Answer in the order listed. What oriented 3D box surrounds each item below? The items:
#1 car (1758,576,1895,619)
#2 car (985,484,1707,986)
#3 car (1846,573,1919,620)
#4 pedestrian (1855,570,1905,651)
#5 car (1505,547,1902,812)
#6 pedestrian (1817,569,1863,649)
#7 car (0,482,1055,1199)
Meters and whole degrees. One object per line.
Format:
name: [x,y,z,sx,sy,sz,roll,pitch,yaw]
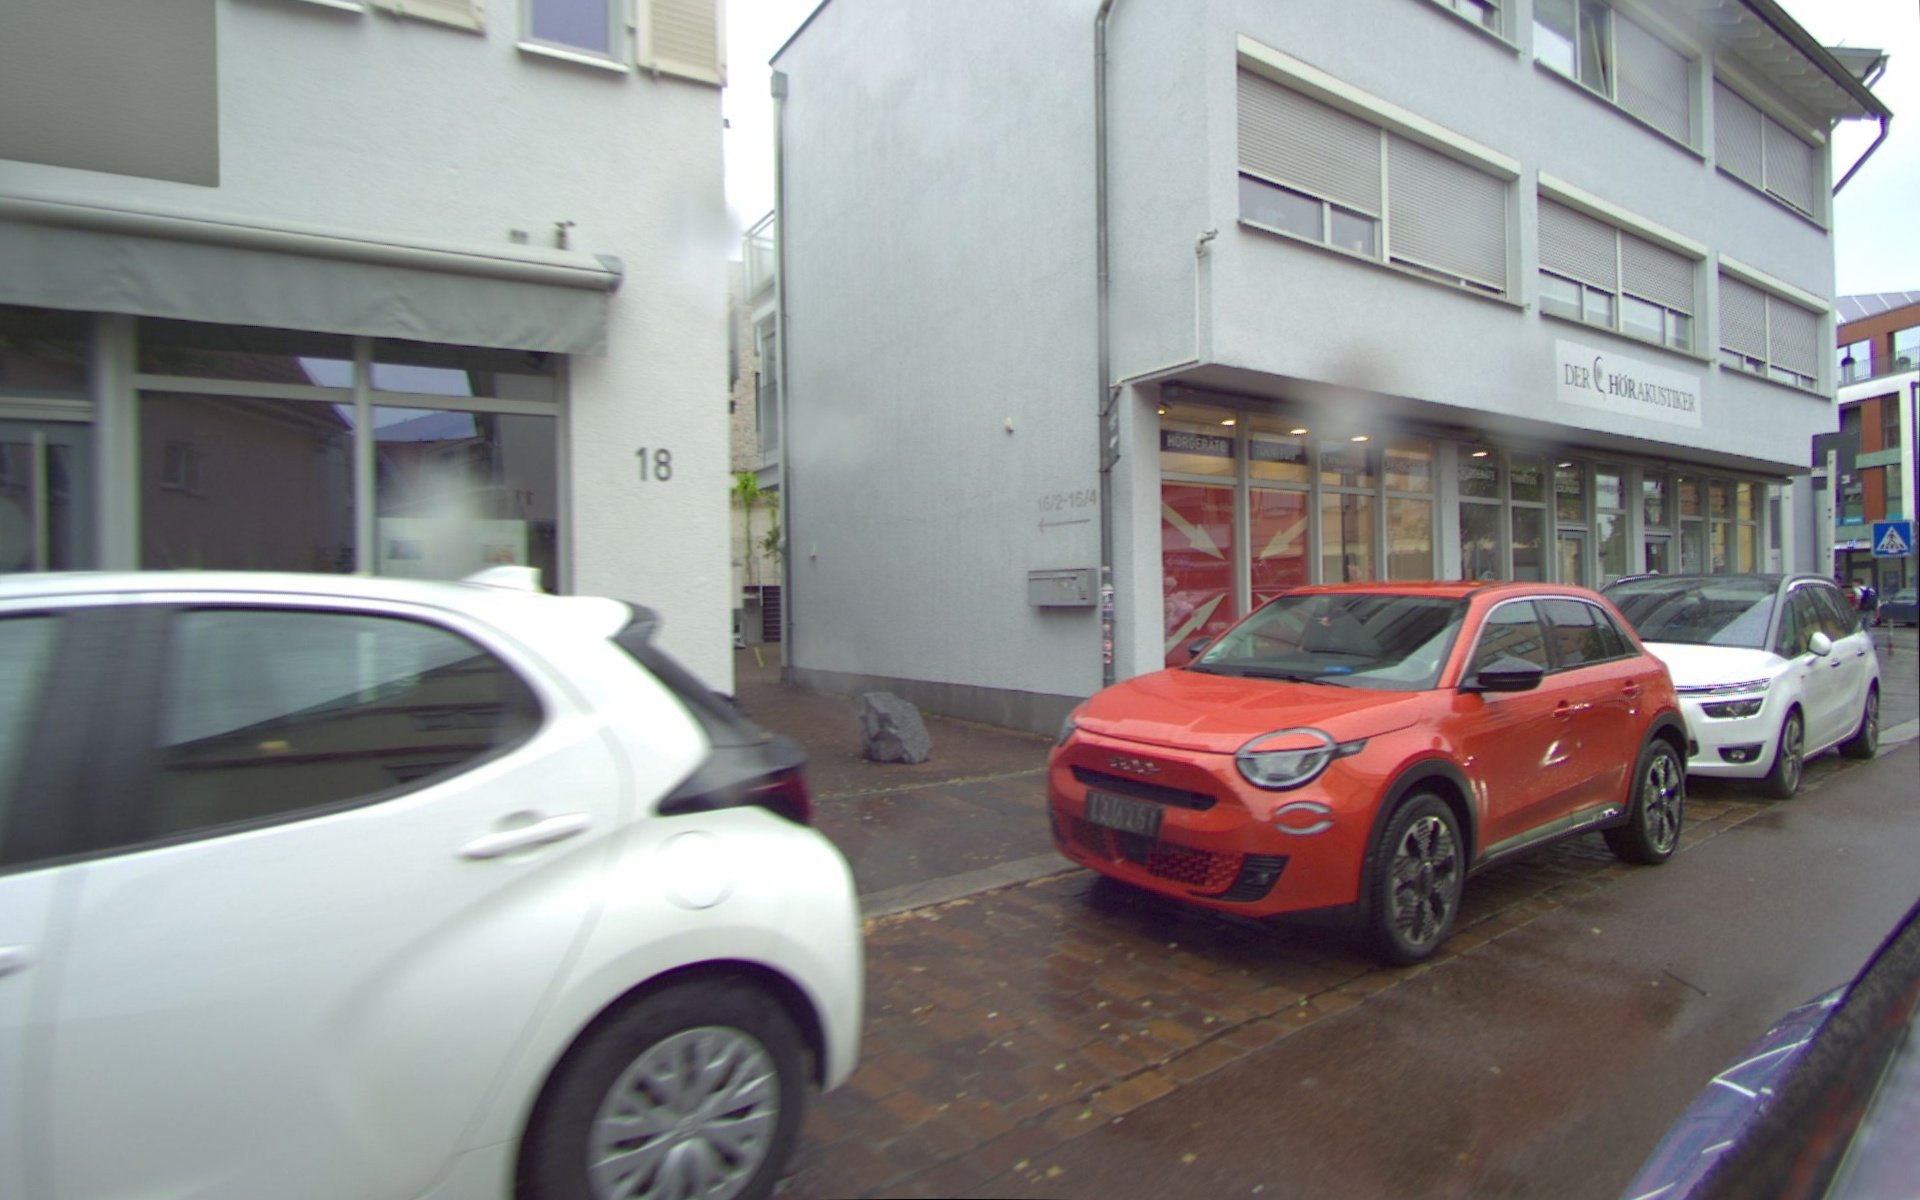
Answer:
car: [34.047,-0.110,39.915,1.684,1.594,4.005,-1,1,-7]
car: [2.184,0.425,5.290,3.884,1.711,1.695,-1,0,-36]
car: [33.727,-0.132,35.391,1.684,1.594,4.005,-1,1,-7]
pedestrian: [21.224,0.231,23.361,0.666,1.834,0.674,-1,0,27]
car: [6.404,0.479,8.543,4.202,1.711,1.694,-1,1,-39]
pedestrian: [20.530,0.199,23.627,0.693,1.834,0.506,-1,0,28]
car: [-1.982,0.603,2.140,4.321,1.558,1.695,-1,1,-36]
